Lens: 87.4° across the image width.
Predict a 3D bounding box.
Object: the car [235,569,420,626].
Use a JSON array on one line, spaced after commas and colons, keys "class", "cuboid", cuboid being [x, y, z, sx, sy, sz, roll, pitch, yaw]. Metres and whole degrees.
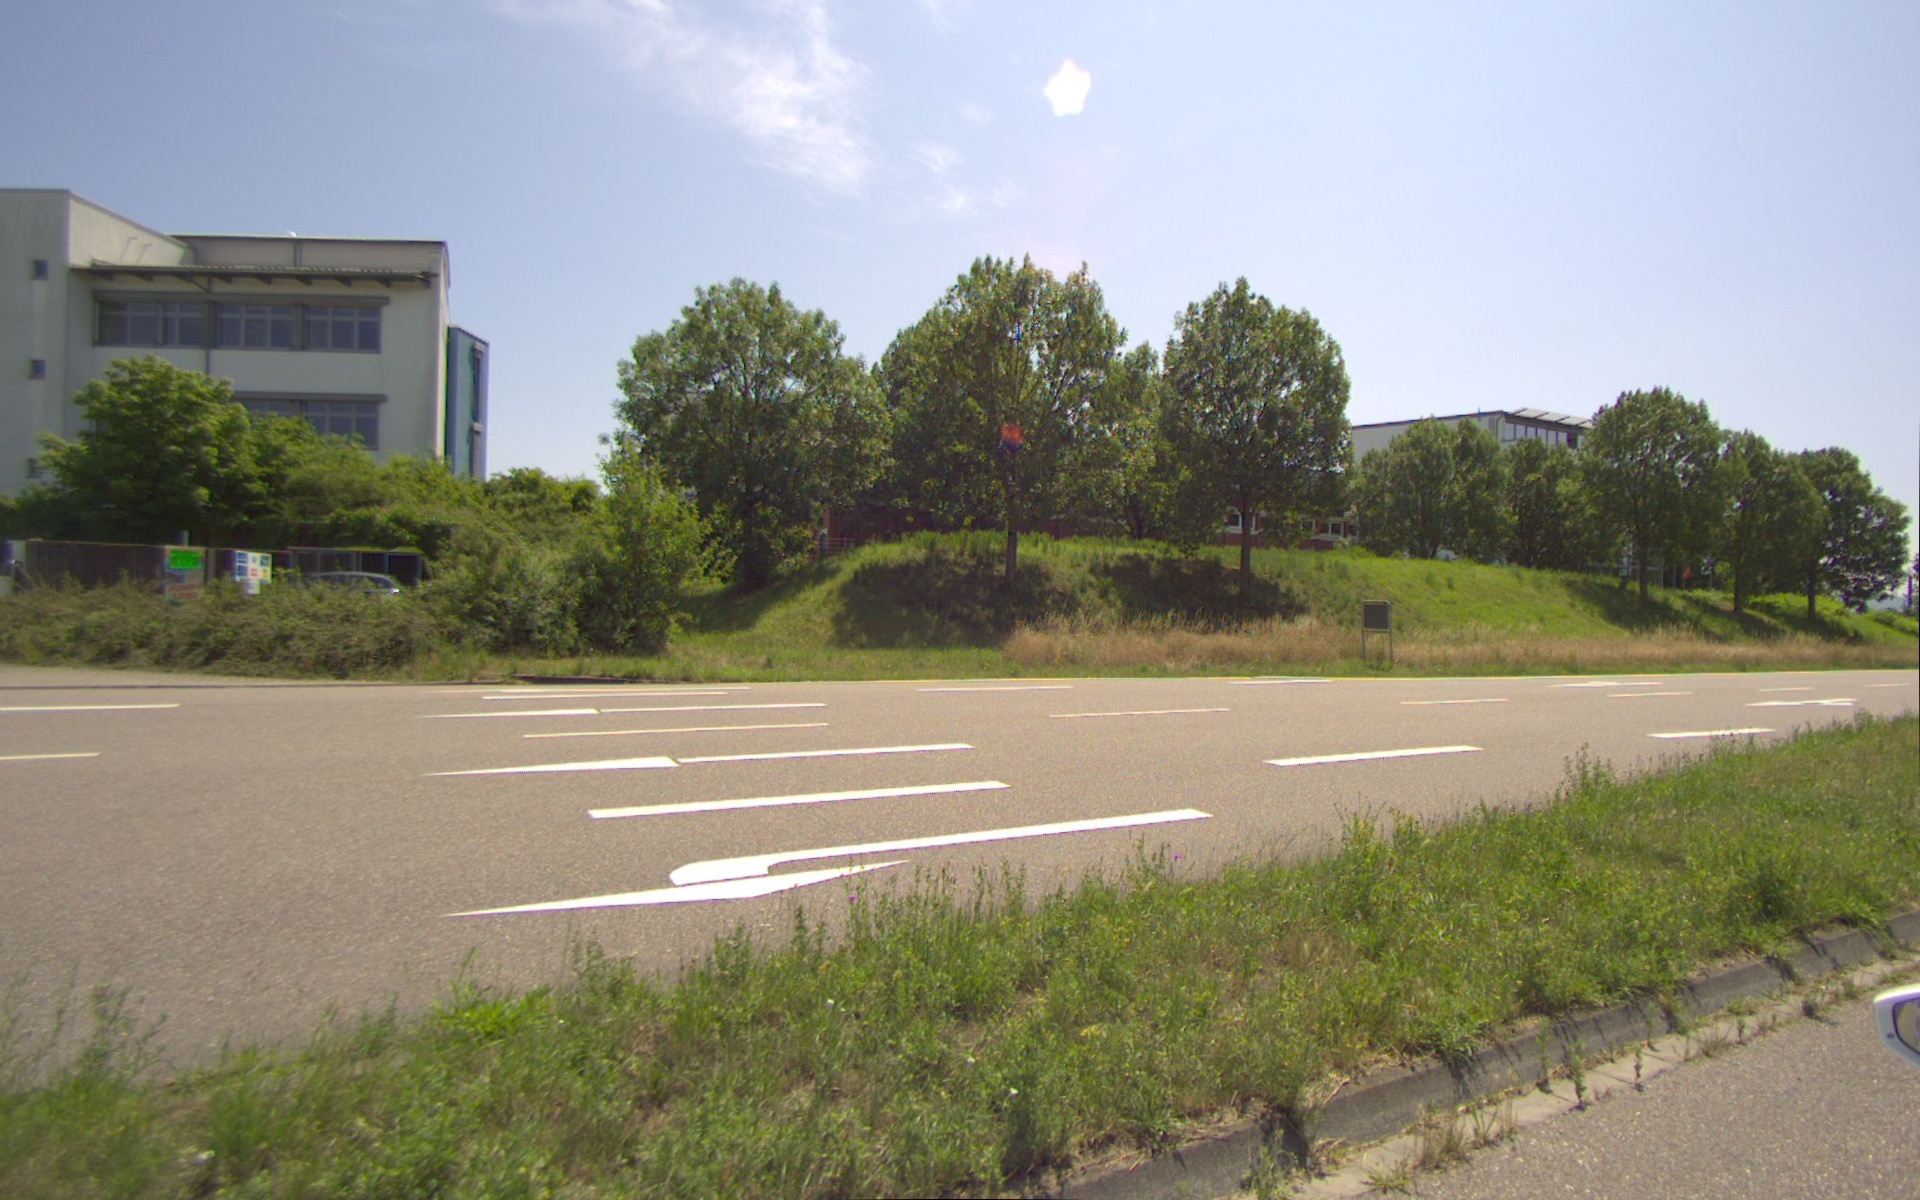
[{"class": "car", "cuboid": [-17.191, -0.051, 27.522, 3.940, 1.428, 1.874, 1, 0, -21]}]
